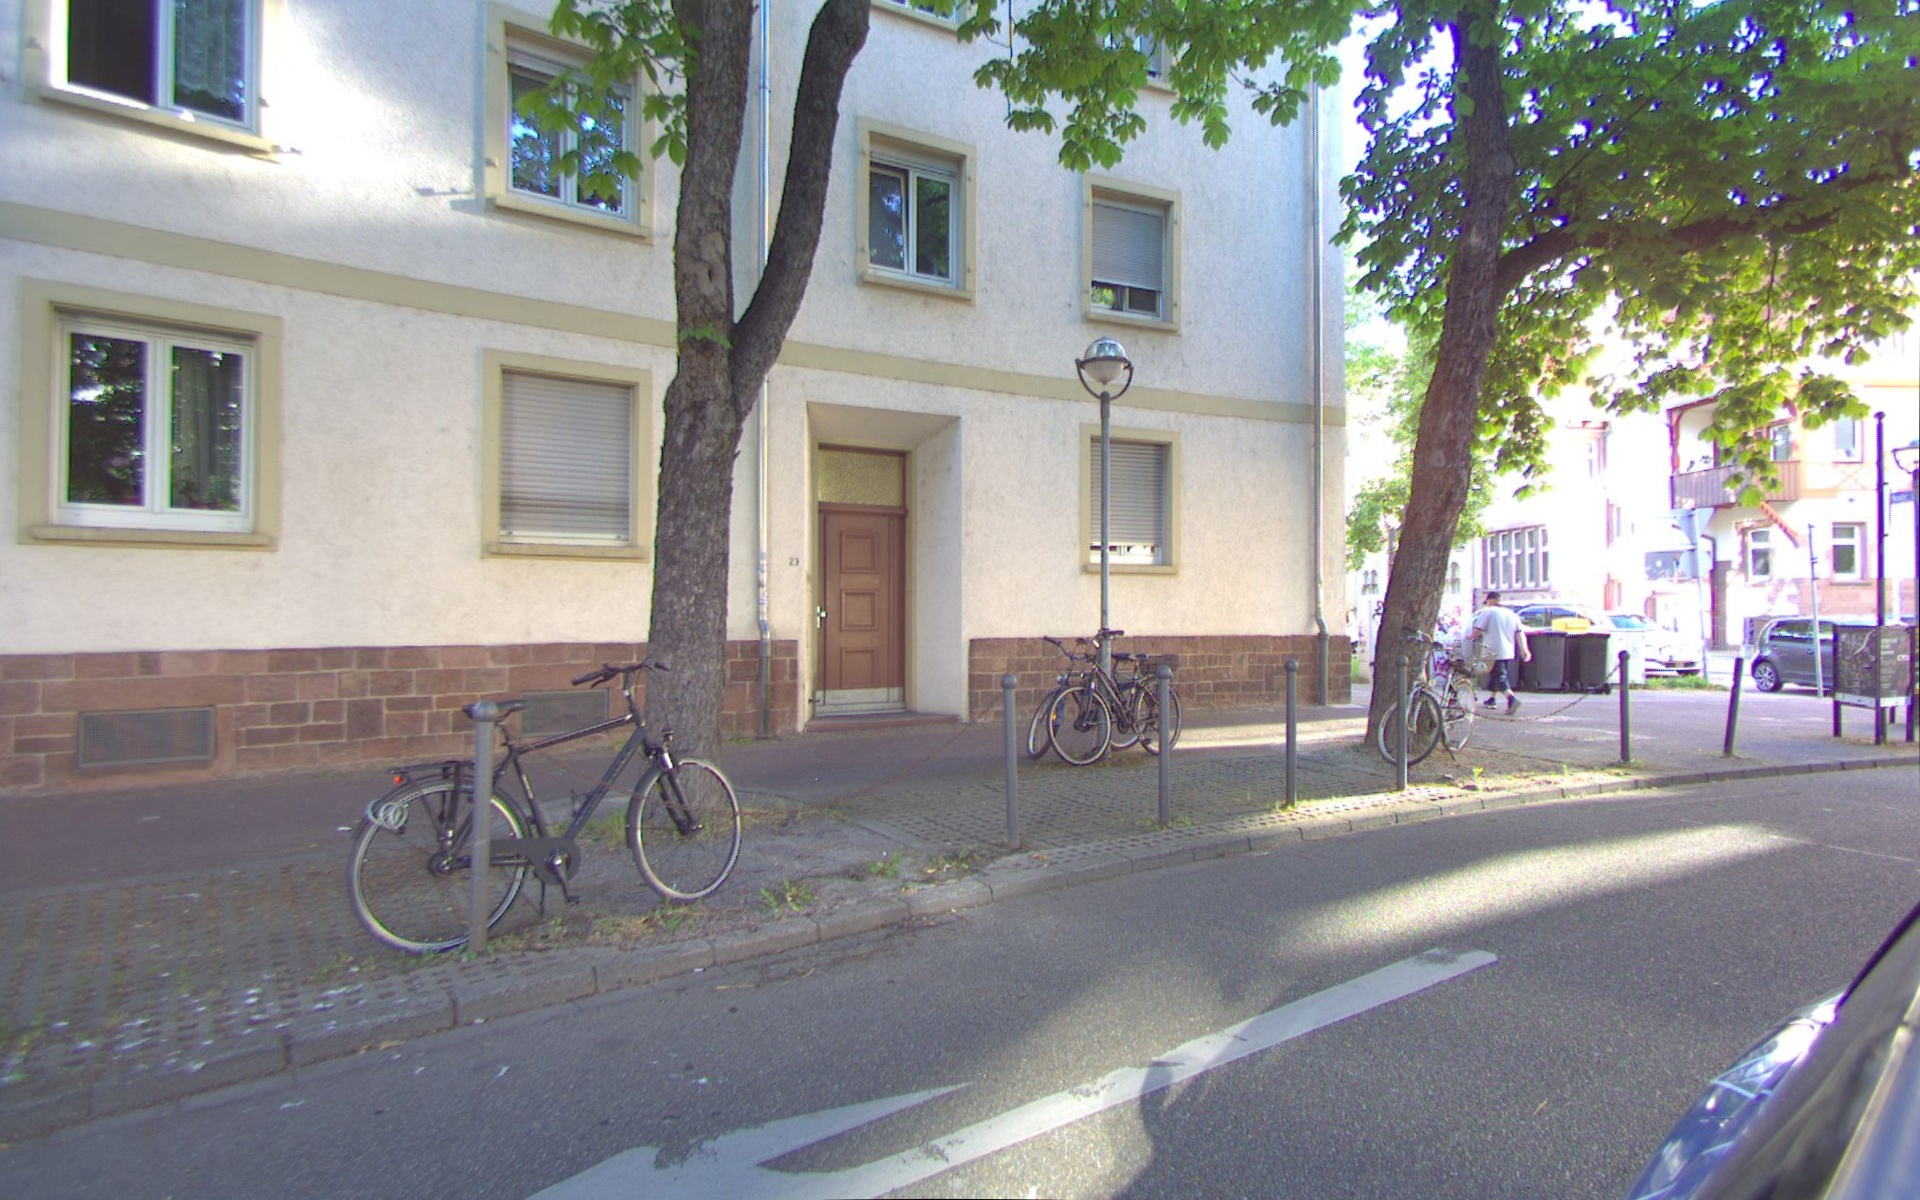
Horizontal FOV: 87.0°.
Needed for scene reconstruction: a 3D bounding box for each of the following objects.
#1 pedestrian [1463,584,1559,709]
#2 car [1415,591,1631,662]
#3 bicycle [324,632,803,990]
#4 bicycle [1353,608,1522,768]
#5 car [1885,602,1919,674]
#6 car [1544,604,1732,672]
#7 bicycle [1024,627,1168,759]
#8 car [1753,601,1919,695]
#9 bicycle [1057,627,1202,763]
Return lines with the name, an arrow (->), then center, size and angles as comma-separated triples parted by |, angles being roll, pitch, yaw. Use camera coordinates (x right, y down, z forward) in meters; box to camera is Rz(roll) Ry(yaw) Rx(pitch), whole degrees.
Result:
pedestrian -> 7.394, 0.589, 13.606 | 0.629, 1.612, 0.947 | 0, 0, -23
car -> 12.007, 0.549, 21.718 | 3.728, 1.443, 1.677 | 0, -1, -5
bicycle -> -1.695, 0.786, 4.560 | 1.882, 1.238, 0.718 | 0, -1, -43
bicycle -> 4.417, 0.735, 9.298 | 1.871, 1.321, 0.766 | 0, -1, -43
car -> 21.629, 0.840, 21.200 | 1.463, 1.559, 3.217 | 1, 0, -3
car -> 16.932, 0.906, 25.577 | 1.771, 1.572, 4.187 | 0, -1, -3
bicycle -> 1.284, 0.811, 9.350 | 1.607, 1.108, 0.334 | 0, -1, -41
car -> 16.852, 0.825, 18.323 | 1.663, 1.572, 4.053 | 0, -1, -3
bicycle -> 1.551, 0.814, 9.107 | 1.607, 1.108, 0.334 | 0, -1, -41
